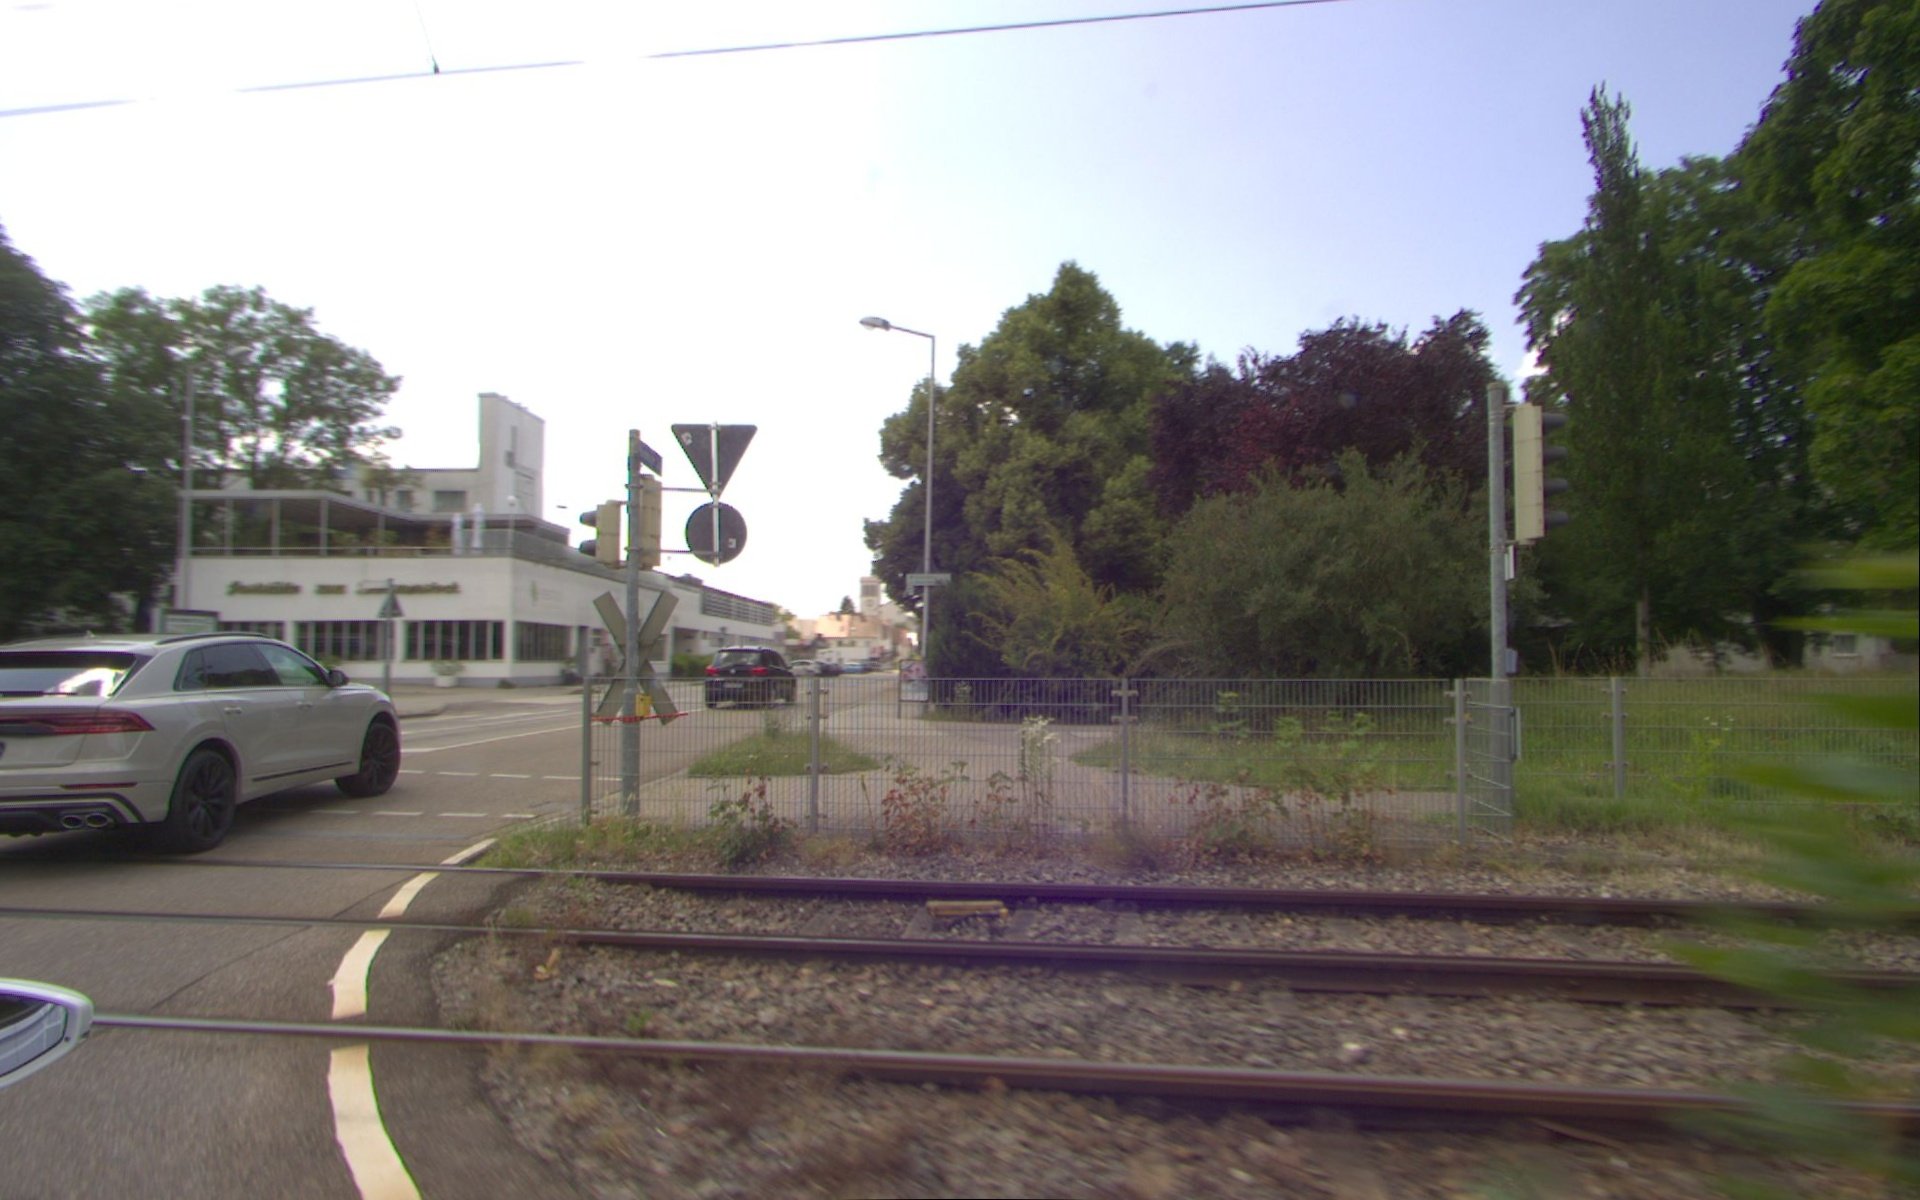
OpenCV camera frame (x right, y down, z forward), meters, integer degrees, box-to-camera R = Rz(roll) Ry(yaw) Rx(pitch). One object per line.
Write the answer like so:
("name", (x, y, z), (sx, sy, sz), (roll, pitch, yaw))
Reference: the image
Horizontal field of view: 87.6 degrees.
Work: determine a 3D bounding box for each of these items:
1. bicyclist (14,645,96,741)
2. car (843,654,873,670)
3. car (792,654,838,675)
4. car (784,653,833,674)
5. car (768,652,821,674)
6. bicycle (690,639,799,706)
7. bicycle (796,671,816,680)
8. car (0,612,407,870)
("bicyclist", (-14.516, 1.484, 16.085), (0.447, 1.493, 0.842), (-1, -3, 10))
("car", (-13.342, 8.127, 131.034), (3.923, 2.038, 2.001), (0, -3, -5))
("car", (-14.817, 6.620, 102.737), (4.557, 2.037, 2.002), (0, -4, -5))
("car", (-14.538, 6.124, 96.355), (4.557, 2.037, 2.002), (0, -4, -5))
("car", (-15.169, 5.793, 91.968), (4.557, 2.037, 2.002), (0, -4, -5))
("bicycle", (-5.827, 1.980, 27.656), (1.961, 1.695, 4.212), (0, -3, 2))
("bicycle", (-13.542, 6.649, 88.029), (1.643, 0.767, 0.571), (2, -3, -5))
("car", (-6.913, 1.082, 8.914), (1.950, 1.704, 4.576), (-1, -3, -8))
